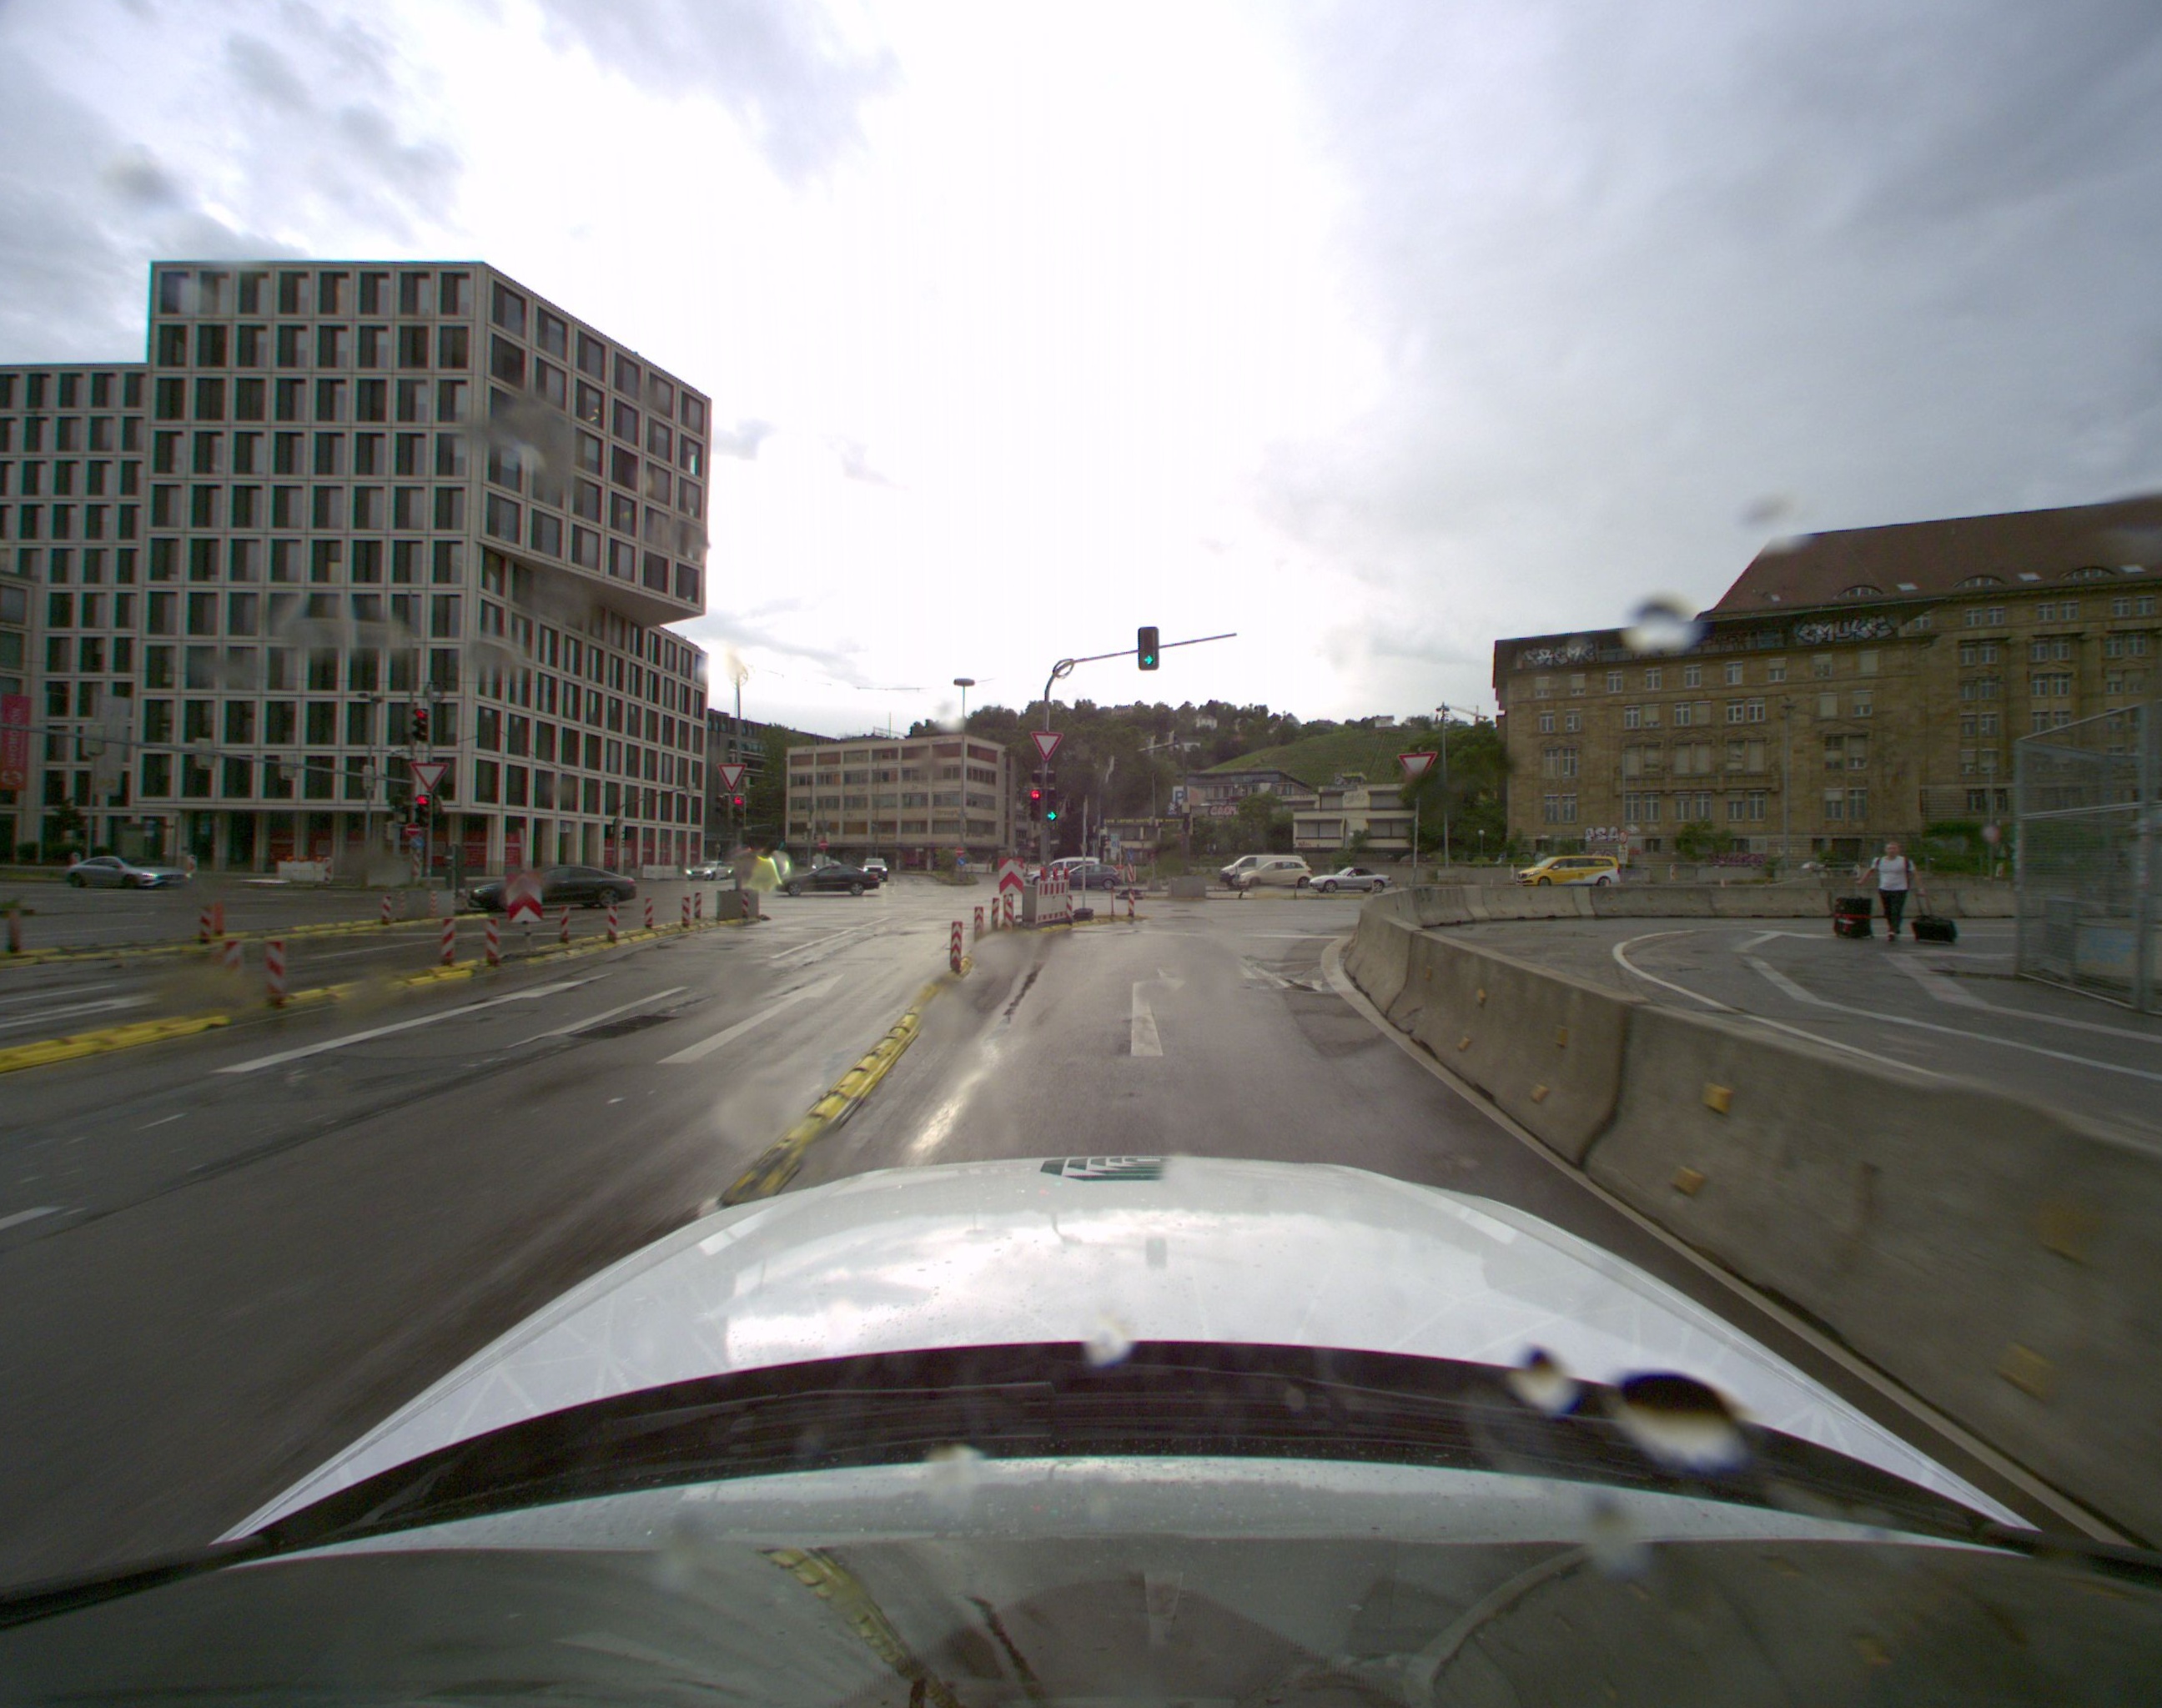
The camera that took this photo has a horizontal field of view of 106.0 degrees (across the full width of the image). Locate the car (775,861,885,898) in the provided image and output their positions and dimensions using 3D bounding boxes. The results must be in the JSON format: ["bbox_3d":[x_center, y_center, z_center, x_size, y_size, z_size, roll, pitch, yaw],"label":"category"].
[{"bbox_3d":[-11.489,1.137,37.348,4.663,1.598,2.005,0,0,-20],"label":"car"}]

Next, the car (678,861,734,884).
[{"bbox_3d":[-29.216,1.440,63.631,2.216,1.753,4.809,0,-1,-1],"label":"car"}]

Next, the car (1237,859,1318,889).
[{"bbox_3d":[11.373,1.138,47.289,4.348,1.673,1.849,0,0,2],"label":"car"}]

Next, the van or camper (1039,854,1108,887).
[{"bbox_3d":[-0.489,1.023,50.442,4.231,1.979,1.849,0,-1,-3],"label":"van or camper"}]

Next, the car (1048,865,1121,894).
[{"bbox_3d":[0.169,1.454,47.122,4.157,1.598,1.849,0,0,-3],"label":"car"}]

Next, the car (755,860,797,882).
[{"bbox_3d":[-25.851,1.396,69.183,1.791,1.816,4.005,0,0,5],"label":"car"}]

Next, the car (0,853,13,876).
[{"bbox_3d":[-72.660,0.673,53.103,3.964,1.523,1.871,0,-1,8],"label":"car"}]

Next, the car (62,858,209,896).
[{"bbox_3d":[-41.671,0.966,35.944,4.622,1.598,2.023,0,0,8],"label":"car"}]

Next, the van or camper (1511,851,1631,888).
[{"bbox_3d":[28.165,0.891,46.956,5.569,2.054,2.247,0,0,1],"label":"van or camper"}]

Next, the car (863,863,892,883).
[{"bbox_3d":[-15.895,1.444,63.684,1.830,1.486,3.987,0,0,-9],"label":"car"}]

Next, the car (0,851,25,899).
[{"bbox_3d":[-41.672,0.762,29.397,4.628,1.738,2.020,0,0,3],"label":"car"}]

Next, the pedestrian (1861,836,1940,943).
[{"bbox_3d":[14.877,0.616,14.792,0.783,1.865,0.990,1,-1,-44],"label":"pedestrian"}]

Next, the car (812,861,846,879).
[{"bbox_3d":[-22.942,1.465,74.103,1.897,1.557,3.958,0,-1,-33],"label":"car"}]

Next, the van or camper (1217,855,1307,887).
[{"bbox_3d":[11.182,1.043,50.435,5.182,1.894,1.886,0,0,-3],"label":"van or camper"}]

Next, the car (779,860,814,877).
[{"bbox_3d":[-36.392,1.812,104.120,3.949,2.014,2.012,1,-2,32],"label":"car"}]

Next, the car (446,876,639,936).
[{"bbox_3d":[-16.896,1.552,25.787,1.992,1.598,4.692,0,0,38],"label":"car"}]

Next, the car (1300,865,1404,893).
[{"bbox_3d":[13.065,1.186,39.359,4.500,1.309,1.642,0,0,0],"label":"car"}]

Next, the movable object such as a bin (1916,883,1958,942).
[{"bbox_3d":[15.464,1.043,14.728,0.556,1.016,0.513,1,-1,-44],"label":"movable object such as a bin"}]

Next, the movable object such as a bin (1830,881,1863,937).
[{"bbox_3d":[14.497,1.025,15.412,0.525,1.016,0.426,1,-1,-44],"label":"movable object such as a bin"}]
